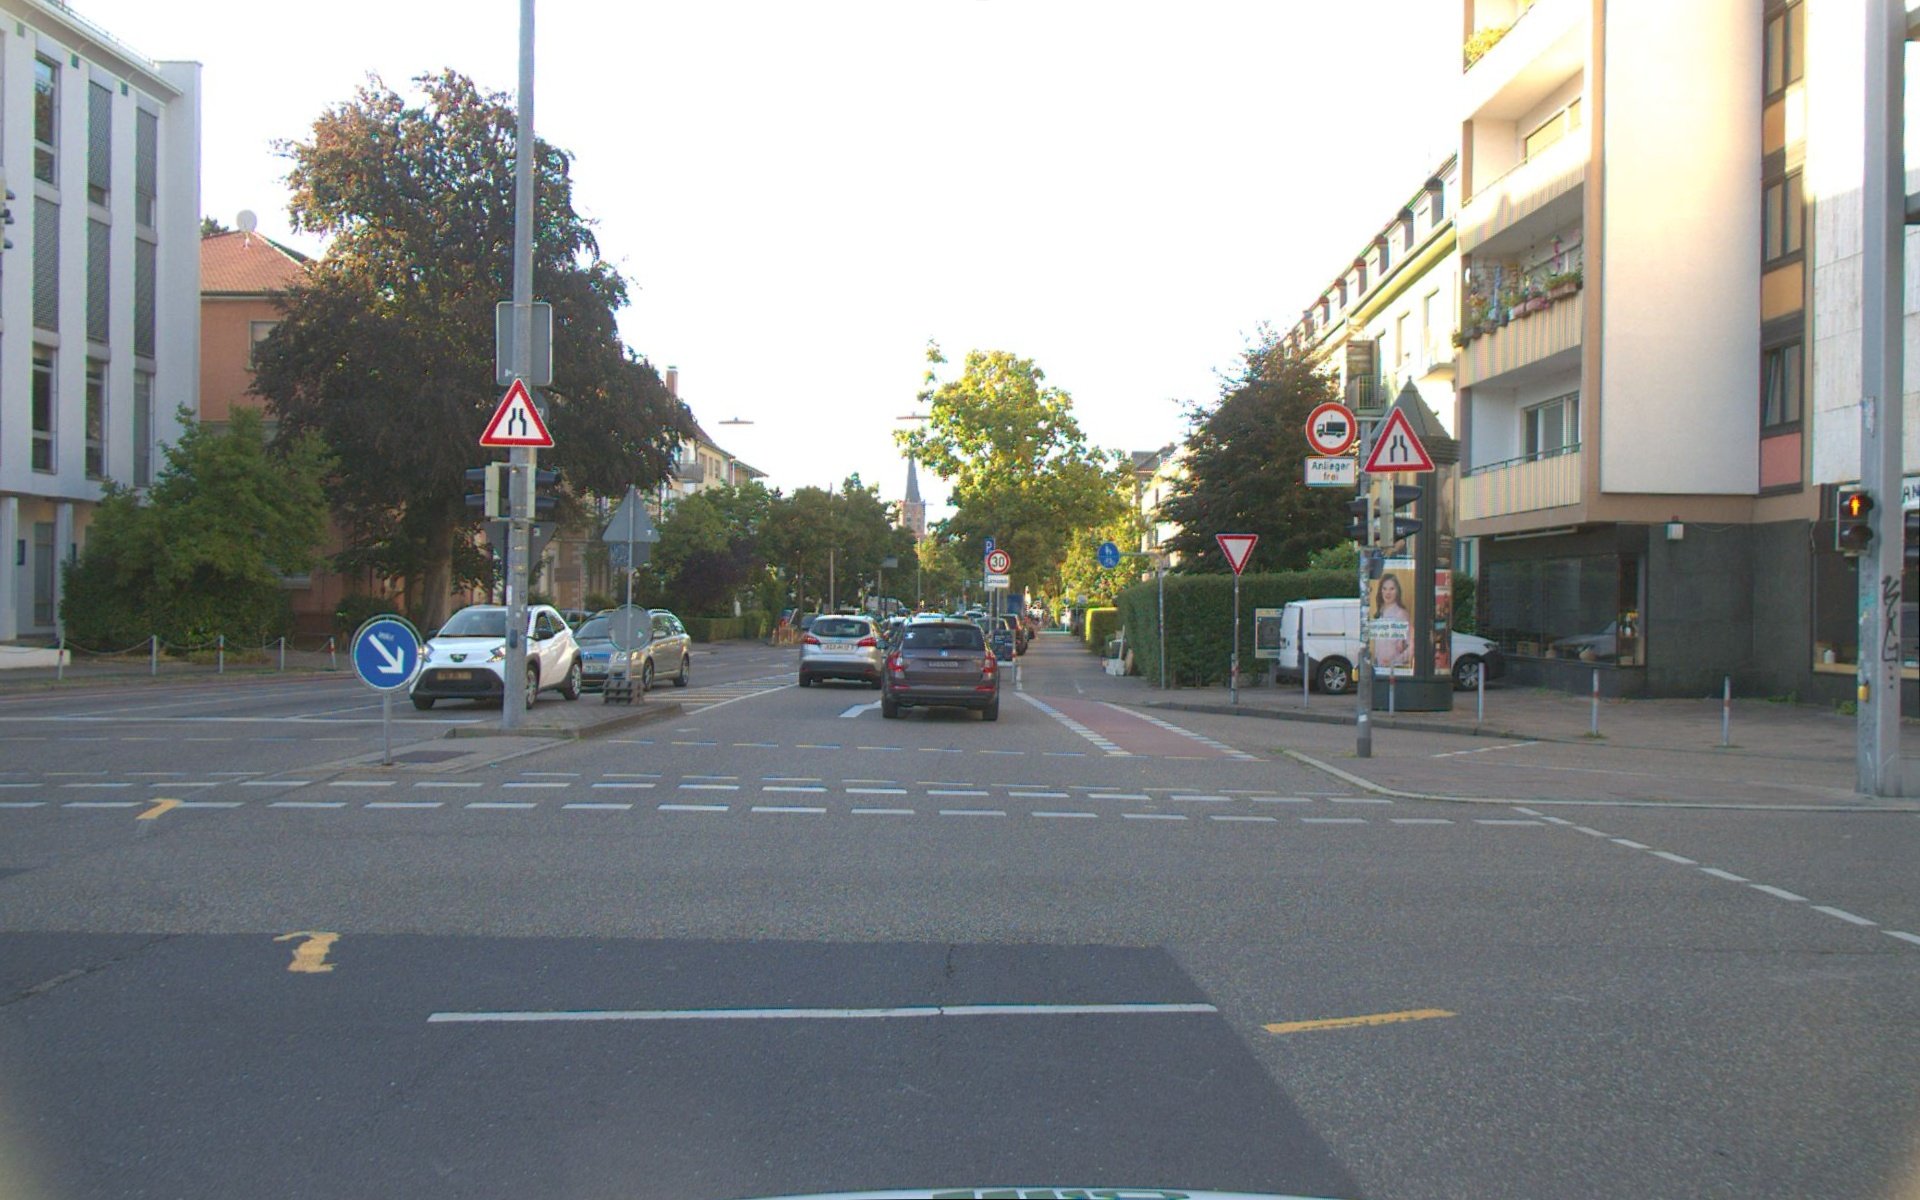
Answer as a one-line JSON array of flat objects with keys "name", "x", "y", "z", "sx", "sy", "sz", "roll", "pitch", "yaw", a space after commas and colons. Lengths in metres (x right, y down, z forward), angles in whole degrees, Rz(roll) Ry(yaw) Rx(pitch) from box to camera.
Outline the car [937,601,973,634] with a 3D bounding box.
[{"name": "car", "x": -0.224, "y": 0.904, "z": 85.980, "sx": 1.696, "sy": 1.680, "sz": 3.542, "roll": 0, "pitch": 0, "yaw": 2}]

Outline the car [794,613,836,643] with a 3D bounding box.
[{"name": "car", "x": -7.905, "y": 1.494, "z": 90.386, "sx": 1.714, "sy": 1.529, "sz": 4.198, "roll": 0, "pitch": 0, "yaw": 2}]

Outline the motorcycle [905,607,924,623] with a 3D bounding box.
[{"name": "motorcycle", "x": -4.529, "y": 1.512, "z": 164.640, "sx": 0.759, "sy": 1.538, "sz": 2.001, "roll": 1, "pitch": 0, "yaw": -40}]

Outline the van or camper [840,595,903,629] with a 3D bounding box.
[{"name": "van or camper", "x": -10.763, "y": 1.444, "z": 201.132, "sx": 7.483, "sy": 3.942, "sz": 2.000, "roll": 0, "pitch": 0, "yaw": 0}]

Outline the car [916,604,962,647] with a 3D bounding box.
[{"name": "car", "x": -0.826, "y": 1.005, "z": 67.709, "sx": 1.696, "sy": 1.680, "sz": 3.542, "roll": 0, "pitch": 0, "yaw": 2}]

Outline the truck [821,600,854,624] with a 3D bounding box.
[{"name": "truck", "x": -11.242, "y": 1.084, "z": 151.357, "sx": 2.853, "sy": 2.130, "sz": 1.546, "roll": 0, "pitch": 0, "yaw": 2}]

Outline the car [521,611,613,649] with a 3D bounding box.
[{"name": "car", "x": -16.330, "y": 1.257, "z": 68.822, "sx": 3.426, "sy": 1.512, "sz": 1.815, "roll": 0, "pitch": 0, "yaw": -2}]

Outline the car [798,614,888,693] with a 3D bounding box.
[{"name": "car", "x": -2.417, "y": 1.083, "z": 34.947, "sx": 1.694, "sy": 1.520, "sz": 3.950, "roll": 0, "pitch": 0, "yaw": -1}]

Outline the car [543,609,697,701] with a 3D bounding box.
[{"name": "car", "x": -6.313, "y": 0.974, "z": 31.224, "sx": 1.789, "sy": 1.541, "sz": 4.605, "roll": 0, "pitch": 0, "yaw": 2}]

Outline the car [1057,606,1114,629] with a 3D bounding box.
[{"name": "car", "x": 10.585, "y": 1.489, "z": 139.048, "sx": 4.476, "sy": 1.926, "sz": 1.899, "roll": 0, "pitch": 0, "yaw": -26}]

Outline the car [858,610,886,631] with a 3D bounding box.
[{"name": "car", "x": -6.587, "y": 1.528, "z": 123.778, "sx": 1.681, "sy": 1.524, "sz": 4.249, "roll": 0, "pitch": 0, "yaw": 2}]

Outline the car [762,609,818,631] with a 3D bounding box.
[{"name": "car", "x": -12.580, "y": 1.489, "z": 122.331, "sx": 3.906, "sy": 1.505, "sz": 1.999, "roll": 1, "pitch": 0, "yaw": -1}]

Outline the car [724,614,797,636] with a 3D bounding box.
[{"name": "car", "x": -13.005, "y": 1.622, "z": 107.933, "sx": 4.626, "sy": 1.386, "sz": 1.995, "roll": 0, "pitch": 0, "yaw": -11}]

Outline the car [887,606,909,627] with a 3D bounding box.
[{"name": "car", "x": -5.564, "y": 1.483, "z": 149.674, "sx": 1.714, "sy": 1.771, "sz": 3.592, "roll": 0, "pitch": 0, "yaw": 2}]

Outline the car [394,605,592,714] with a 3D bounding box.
[{"name": "car", "x": -7.009, "y": 0.843, "z": 25.232, "sx": 1.789, "sy": 1.486, "sz": 3.903, "roll": 0, "pitch": 0, "yaw": 2}]

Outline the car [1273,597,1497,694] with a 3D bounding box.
[{"name": "car", "x": 8.420, "y": 0.885, "z": 33.010, "sx": 4.004, "sy": 1.846, "sz": 1.861, "roll": 0, "pitch": 0, "yaw": -1}]

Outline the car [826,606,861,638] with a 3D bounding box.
[{"name": "car", "x": -7.464, "y": 1.382, "z": 106.325, "sx": 1.733, "sy": 1.953, "sz": 4.461, "roll": 0, "pitch": 0, "yaw": 2}]

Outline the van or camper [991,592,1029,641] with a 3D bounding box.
[{"name": "van or camper", "x": 2.864, "y": 0.947, "z": 93.706, "sx": 2.024, "sy": 2.722, "sz": 5.991, "roll": 0, "pitch": -1, "yaw": 2}]

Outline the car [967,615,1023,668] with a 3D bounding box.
[{"name": "car", "x": 1.134, "y": 1.290, "z": 52.751, "sx": 1.696, "sy": 1.578, "sz": 3.647, "roll": 0, "pitch": 0, "yaw": 2}]

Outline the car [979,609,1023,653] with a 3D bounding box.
[{"name": "car", "x": 1.668, "y": 1.213, "z": 66.439, "sx": 1.696, "sy": 1.680, "sz": 4.292, "roll": 0, "pitch": 0, "yaw": 2}]

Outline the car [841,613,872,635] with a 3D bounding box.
[{"name": "car", "x": -7.059, "y": 1.611, "z": 113.063, "sx": 1.681, "sy": 1.446, "sz": 3.787, "roll": 0, "pitch": 0, "yaw": 2}]

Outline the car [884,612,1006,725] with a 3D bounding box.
[{"name": "car", "x": -0.245, "y": 0.971, "z": 25.088, "sx": 1.694, "sy": 1.520, "sz": 3.950, "roll": 0, "pitch": 0, "yaw": -1}]
